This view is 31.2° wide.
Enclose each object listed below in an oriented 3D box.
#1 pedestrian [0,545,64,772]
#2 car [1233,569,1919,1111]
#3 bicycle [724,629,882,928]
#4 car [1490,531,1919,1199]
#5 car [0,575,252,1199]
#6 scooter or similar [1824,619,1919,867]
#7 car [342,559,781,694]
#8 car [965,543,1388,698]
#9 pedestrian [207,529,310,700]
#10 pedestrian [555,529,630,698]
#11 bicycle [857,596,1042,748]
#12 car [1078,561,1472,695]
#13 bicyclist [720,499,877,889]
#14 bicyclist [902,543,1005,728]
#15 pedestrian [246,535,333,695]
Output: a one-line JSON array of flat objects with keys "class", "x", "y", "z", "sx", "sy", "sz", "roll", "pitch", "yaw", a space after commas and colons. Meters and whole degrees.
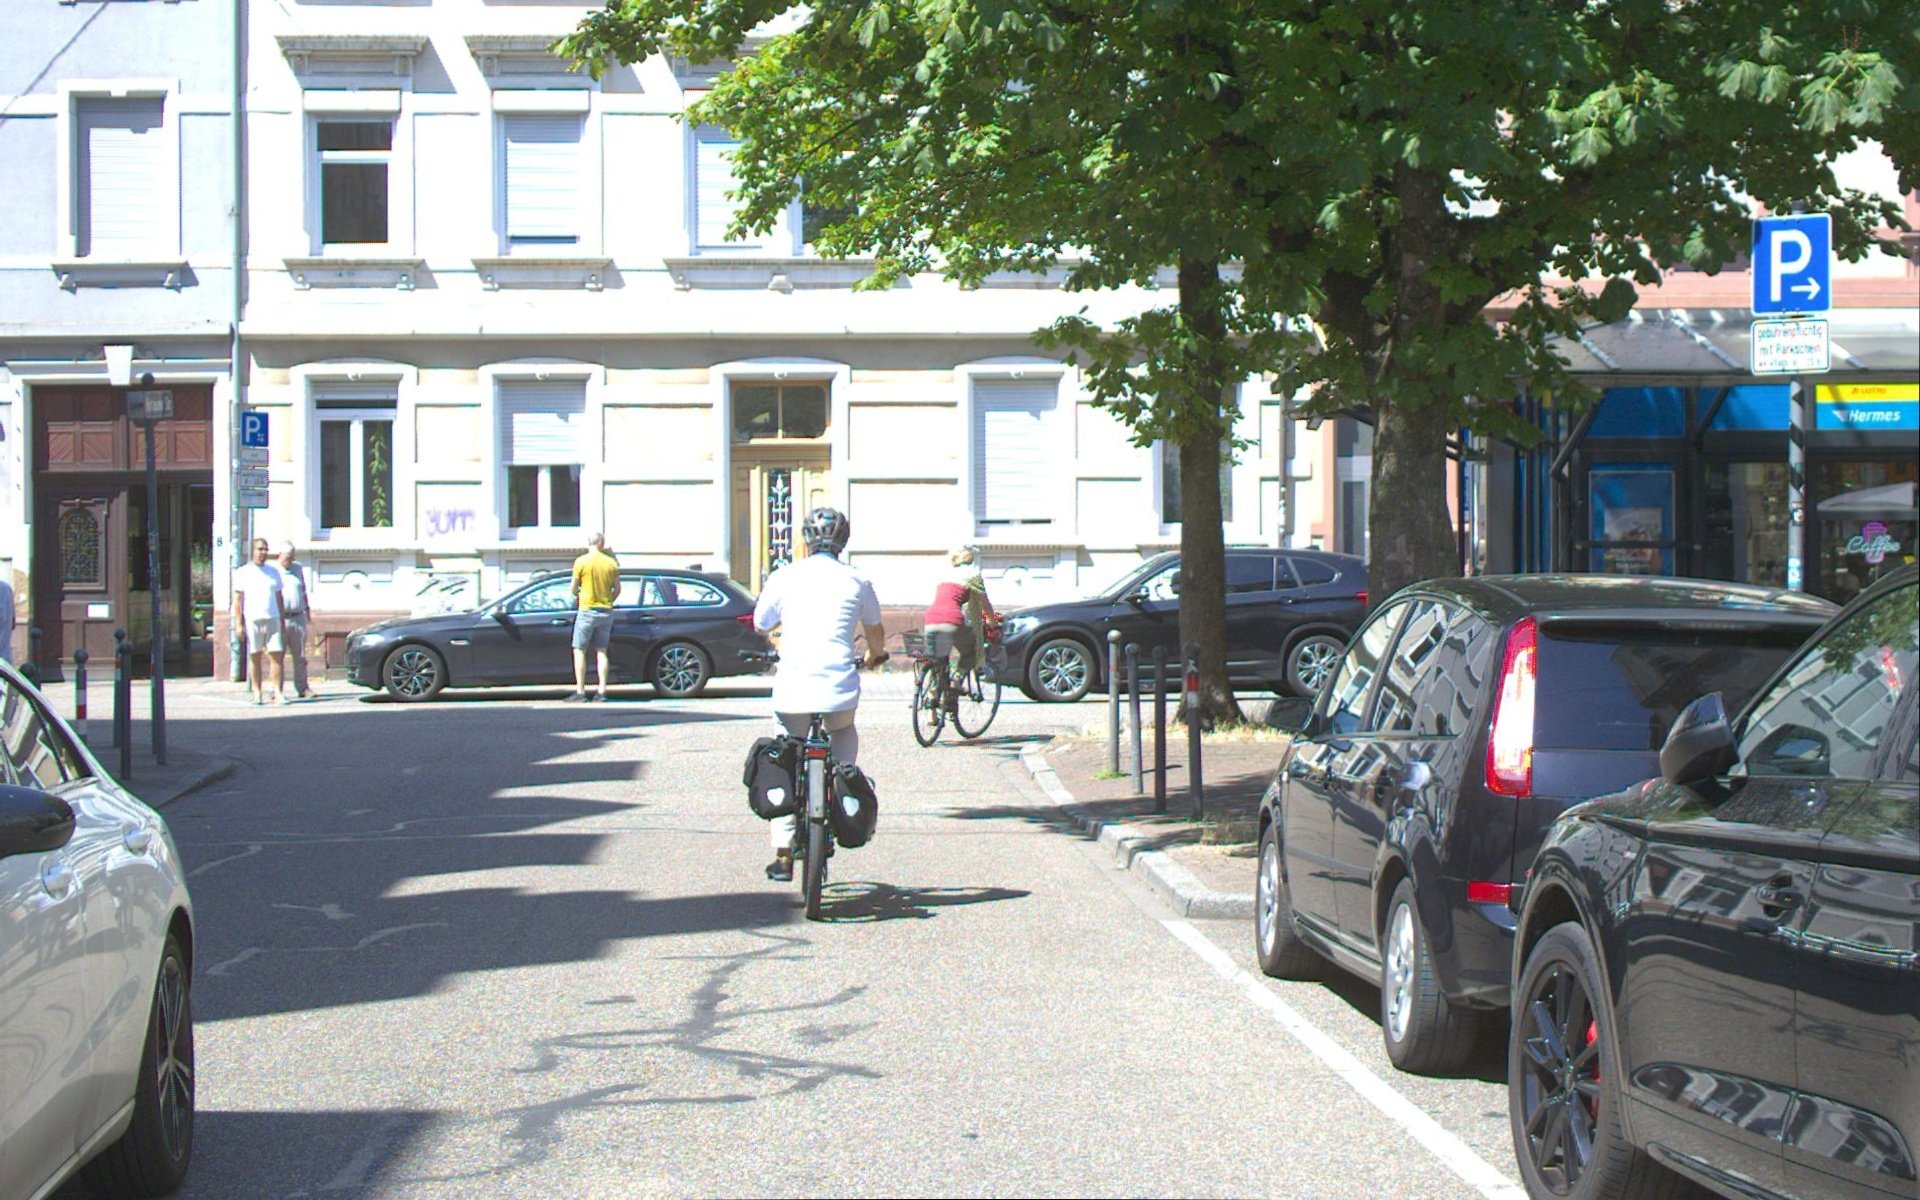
[{"class": "pedestrian", "x": -7.219, "y": 0.430, "z": 25.678, "sx": 0.857, "sy": 1.666, "sz": 0.774, "roll": -1, "pitch": 0, "yaw": -3}, {"class": "car", "x": 2.085, "y": 0.690, "z": 12.168, "sx": 1.663, "sy": 1.535, "sz": 4.178, "roll": 2, "pitch": 1, "yaw": -3}, {"class": "bicycle", "x": -0.725, "y": 0.779, "z": 15.981, "sx": 0.651, "sy": 1.224, "sz": 2.442, "roll": 1, "pitch": 1, "yaw": -2}, {"class": "car", "x": 2.418, "y": 0.695, "z": 6.573, "sx": 1.735, "sy": 1.591, "sz": 4.349, "roll": 2, "pitch": 1, "yaw": -5}, {"class": "car", "x": -2.688, "y": 0.726, "z": 6.810, "sx": 1.841, "sy": 1.456, "sz": 4.363, "roll": -2, "pitch": 1, "yaw": -3}, {"class": "scooter or similar", "x": 4.614, "y": 0.671, "z": 16.660, "sx": 0.443, "sy": 1.132, "sz": 1.183, "roll": -1, "pitch": 1, "yaw": 34}, {"class": "car", "x": -4.494, "y": 0.280, "z": 39.377, "sx": 4.858, "sy": 1.432, "sz": 2.000, "roll": -1, "pitch": 1, "yaw": -3}, {"class": "car", "x": 2.217, "y": 0.198, "z": 36.004, "sx": 4.223, "sy": 1.514, "sz": 1.807, "roll": -1, "pitch": 1, "yaw": -3}, {"class": "pedestrian", "x": -7.865, "y": 0.155, "z": 38.565, "sx": 0.850, "sy": 1.882, "sz": 0.935, "roll": -1, "pitch": 0, "yaw": 8}, {"class": "pedestrian", "x": -4.079, "y": 0.144, "z": 38.160, "sx": 0.724, "sy": 1.847, "sz": 0.685, "roll": -1, "pitch": 0, "yaw": -12}, {"class": "bicycle", "x": -0.061, "y": 0.577, "z": 28.802, "sx": 0.652, "sy": 1.205, "sz": 2.438, "roll": 1, "pitch": 1, "yaw": 22}, {"class": "car", "x": 3.587, "y": 0.303, "z": 39.611, "sx": 4.293, "sy": 1.365, "sz": 1.807, "roll": -1, "pitch": 3, "yaw": -3}, {"class": "bicyclist", "x": -0.741, "y": 0.423, "z": 15.870, "sx": 0.670, "sy": 1.754, "sz": 0.609, "roll": 1, "pitch": 0, "yaw": -2}, {"class": "bicyclist", "x": -0.049, "y": 0.293, "z": 28.811, "sx": 0.671, "sy": 1.528, "sz": 0.609, "roll": -1, "pitch": 1, "yaw": 20}, {"class": "pedestrian", "x": -7.713, "y": 0.163, "z": 39.599, "sx": 0.901, "sy": 1.808, "sz": 0.960, "roll": -1, "pitch": 0, "yaw": -8}]
